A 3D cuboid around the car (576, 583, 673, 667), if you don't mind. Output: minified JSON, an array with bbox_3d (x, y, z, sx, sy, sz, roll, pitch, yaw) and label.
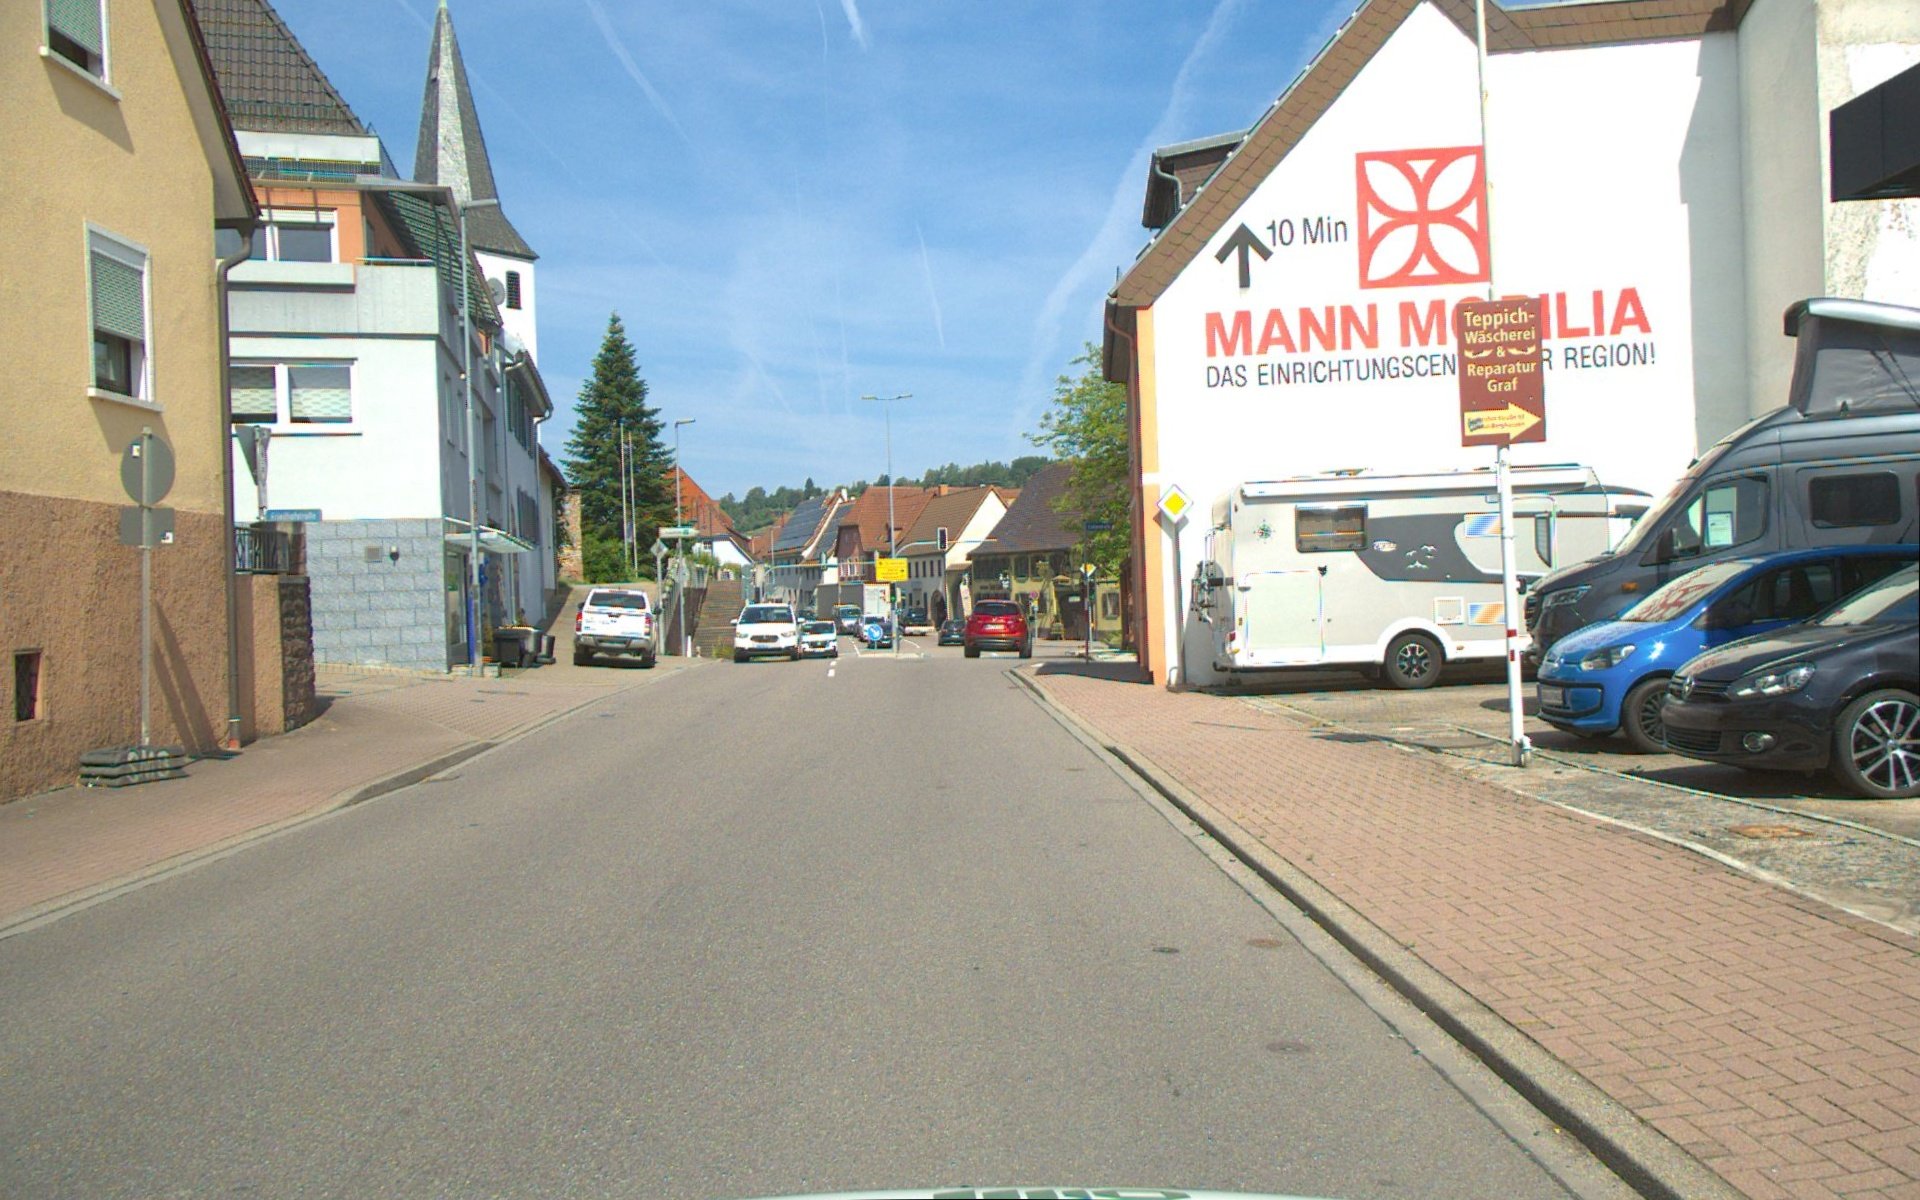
[{"bbox_3d":[-8.028,0.556,39.966,1.770,1.829,5.278,2,0,-6],"label":"car"}]

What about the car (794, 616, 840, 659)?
[{"bbox_3d":[-7.089,1.835,82.431,1.929,1.966,5.311,-2,0,-2],"label":"car"}]

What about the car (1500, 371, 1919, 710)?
[{"bbox_3d":[8.491,-0.568,16.425,5.834,3.039,2.319,-2,0,18],"label":"car"}]

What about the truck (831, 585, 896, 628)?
[{"bbox_3d":[-8.405,0.554,142.795,3.175,3.611,9.178,1,0,-19],"label":"truck"}]

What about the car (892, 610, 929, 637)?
[{"bbox_3d":[-3.872,1.769,127.668,1.818,2.049,3.979,1,-1,-18],"label":"car"}]

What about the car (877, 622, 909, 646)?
[{"bbox_3d":[-4.274,2.163,106.186,1.783,1.459,4.248,-1,0,0],"label":"car"}]

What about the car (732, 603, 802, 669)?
[{"bbox_3d":[-5.070,0.910,43.590,1.696,1.569,3.807,-2,0,-6],"label":"car"}]

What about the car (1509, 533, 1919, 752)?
[{"bbox_3d":[6.598,0.289,13.412,3.724,1.555,1.581,-2,0,-3],"label":"car"}]

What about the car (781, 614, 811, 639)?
[{"bbox_3d":[-14.877,2.381,149.687,1.730,2.285,4.529,1,-1,-18],"label":"car"}]

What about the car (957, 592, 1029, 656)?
[{"bbox_3d":[1.000,0.658,48.249,1.766,1.692,3.815,-2,0,5],"label":"car"}]

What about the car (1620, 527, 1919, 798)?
[{"bbox_3d":[6.490,0.288,10.249,4.074,1.507,1.728,-2,0,2],"label":"car"}]

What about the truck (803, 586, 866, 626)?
[{"bbox_3d":[-11.609,0.639,152.175,3.112,3.521,10.651,1,-1,-19],"label":"truck"}]

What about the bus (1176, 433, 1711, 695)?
[{"bbox_3d":[6.328,-0.450,22.322,6.430,2.956,2.230,-4,-1,2],"label":"bus"}]

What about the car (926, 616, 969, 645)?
[{"bbox_3d":[-0.835,1.949,107.739,1.791,1.769,3.988,-2,0,-16],"label":"car"}]
